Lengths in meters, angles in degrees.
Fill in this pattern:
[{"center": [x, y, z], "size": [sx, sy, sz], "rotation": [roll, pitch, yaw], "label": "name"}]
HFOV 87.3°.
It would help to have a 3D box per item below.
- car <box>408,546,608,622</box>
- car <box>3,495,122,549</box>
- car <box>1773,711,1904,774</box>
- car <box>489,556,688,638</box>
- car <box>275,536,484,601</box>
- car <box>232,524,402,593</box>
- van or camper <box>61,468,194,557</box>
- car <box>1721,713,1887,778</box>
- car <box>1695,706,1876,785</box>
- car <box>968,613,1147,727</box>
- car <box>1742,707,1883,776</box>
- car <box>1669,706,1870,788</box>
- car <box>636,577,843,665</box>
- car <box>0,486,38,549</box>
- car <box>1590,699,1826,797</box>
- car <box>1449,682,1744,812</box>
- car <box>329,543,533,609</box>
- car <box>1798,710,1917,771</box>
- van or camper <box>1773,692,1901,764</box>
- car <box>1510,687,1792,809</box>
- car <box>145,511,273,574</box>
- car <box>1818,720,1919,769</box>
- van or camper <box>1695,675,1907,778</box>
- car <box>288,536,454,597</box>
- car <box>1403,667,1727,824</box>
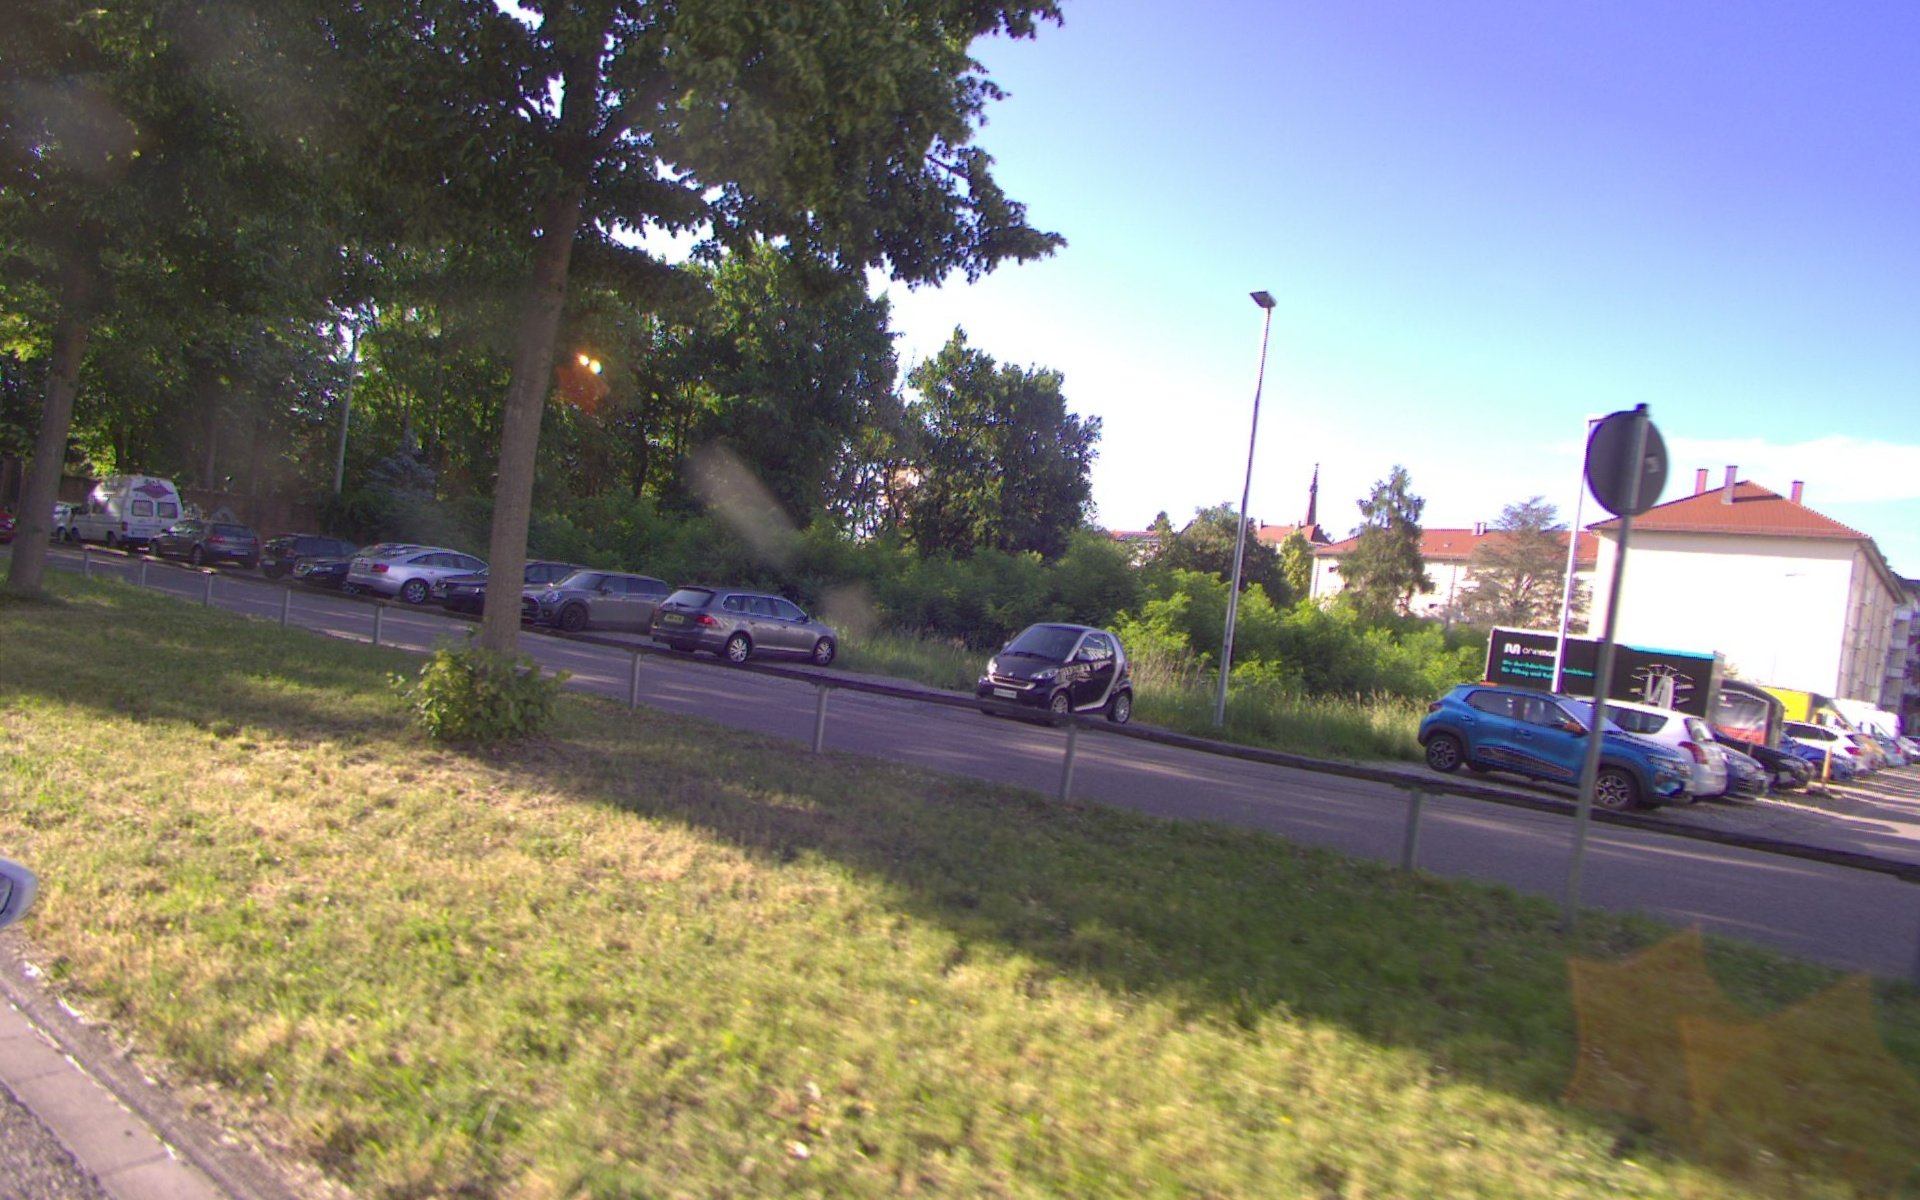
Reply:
[{"center": [-11.374, -0.347, 25.635], "size": [1.874, 1.497, 4.334], "rotation": [8, 2, 28], "label": "car"}, {"center": [-34.967, -3.038, 39.199], "size": [3.926, 1.640, 1.843], "rotation": [7, 3, 21], "label": "car"}, {"center": [37.811, 6.123, 43.338], "size": [1.989, 2.036, 3.952], "rotation": [9, -3, -43], "label": "car"}, {"center": [-8.692, -0.012, 23.885], "size": [1.752, 1.517, 4.198], "rotation": [7, 0, 29], "label": "car"}, {"center": [-16.250, -0.854, 28.416], "size": [1.967, 1.425, 4.719], "rotation": [7, 2, 32], "label": "car"}, {"center": [-19.756, -1.231, 31.088], "size": [1.734, 1.522, 3.998], "rotation": [7, -1, 26], "label": "car"}, {"center": [-30.189, -3.180, 36.459], "size": [4.879, 2.767, 1.995], "rotation": [6, 2, 29], "label": "van or camper"}, {"center": [28.145, 4.847, 33.628], "size": [1.724, 1.368, 3.952], "rotation": [10, -1, -42], "label": "car"}, {"center": [25.515, 4.486, 31.185], "size": [1.988, 1.637, 3.952], "rotation": [10, -1, -42], "label": "car"}, {"center": [1.636, 1.143, 16.311], "size": [1.442, 1.569, 2.762], "rotation": [6, 0, 41], "label": "car"}, {"center": [33.784, 5.588, 39.926], "size": [1.989, 2.036, 3.952], "rotation": [9, -3, -43], "label": "car"}, {"center": [23.446, 4.226, 29.262], "size": [1.821, 1.492, 4.221], "rotation": [9, 0, -42], "label": "car"}, {"center": [-4.431, 0.494, 20.809], "size": [1.688, 1.486, 4.082], "rotation": [6, 0, 33], "label": "car"}, {"center": [-29.225, -2.618, 29.407], "size": [3.930, 1.658, 2.000], "rotation": [6, -2, 27], "label": "car"}, {"center": [16.665, 3.281, 22.556], "size": [1.774, 1.513, 3.840], "rotation": [9, -3, -39], "label": "car"}, {"center": [10.823, 2.467, 17.319], "size": [1.740, 1.553, 3.840], "rotation": [9, -3, -39], "label": "car"}, {"center": [-13.977, -0.599, 26.798], "size": [1.968, 1.430, 4.376], "rotation": [7, 3, 34], "label": "car"}, {"center": [42.755, 6.663, 47.969], "size": [1.989, 2.242, 3.952], "rotation": [9, -3, -43], "label": "car"}, {"center": [44.551, 6.474, 51.158], "size": [1.988, 2.952, 4.510], "rotation": [9, -3, -42], "label": "van or camper"}, {"center": [12.697, 2.691, 18.671], "size": [1.711, 1.557, 3.909], "rotation": [9, -3, -39], "label": "car"}, {"center": [-25.187, -1.935, 33.736], "size": [3.934, 1.592, 1.998], "rotation": [6, -3, 32], "label": "car"}, {"center": [47.601, 7.535, 52.499], "size": [1.987, 1.835, 3.955], "rotation": [9, -3, -41], "label": "car"}, {"center": [31.494, 4.684, 37.841], "size": [5.775, 2.925, 1.990], "rotation": [5, -3, 44], "label": "van or camper"}, {"center": [-17.695, -0.973, 30.409], "size": [1.593, 1.410, 3.991], "rotation": [6, 0, 30], "label": "car"}, {"center": [9.036, 2.107, 15.305], "size": [1.585, 1.565, 3.778], "rotation": [6, 1, -38], "label": "car"}]
